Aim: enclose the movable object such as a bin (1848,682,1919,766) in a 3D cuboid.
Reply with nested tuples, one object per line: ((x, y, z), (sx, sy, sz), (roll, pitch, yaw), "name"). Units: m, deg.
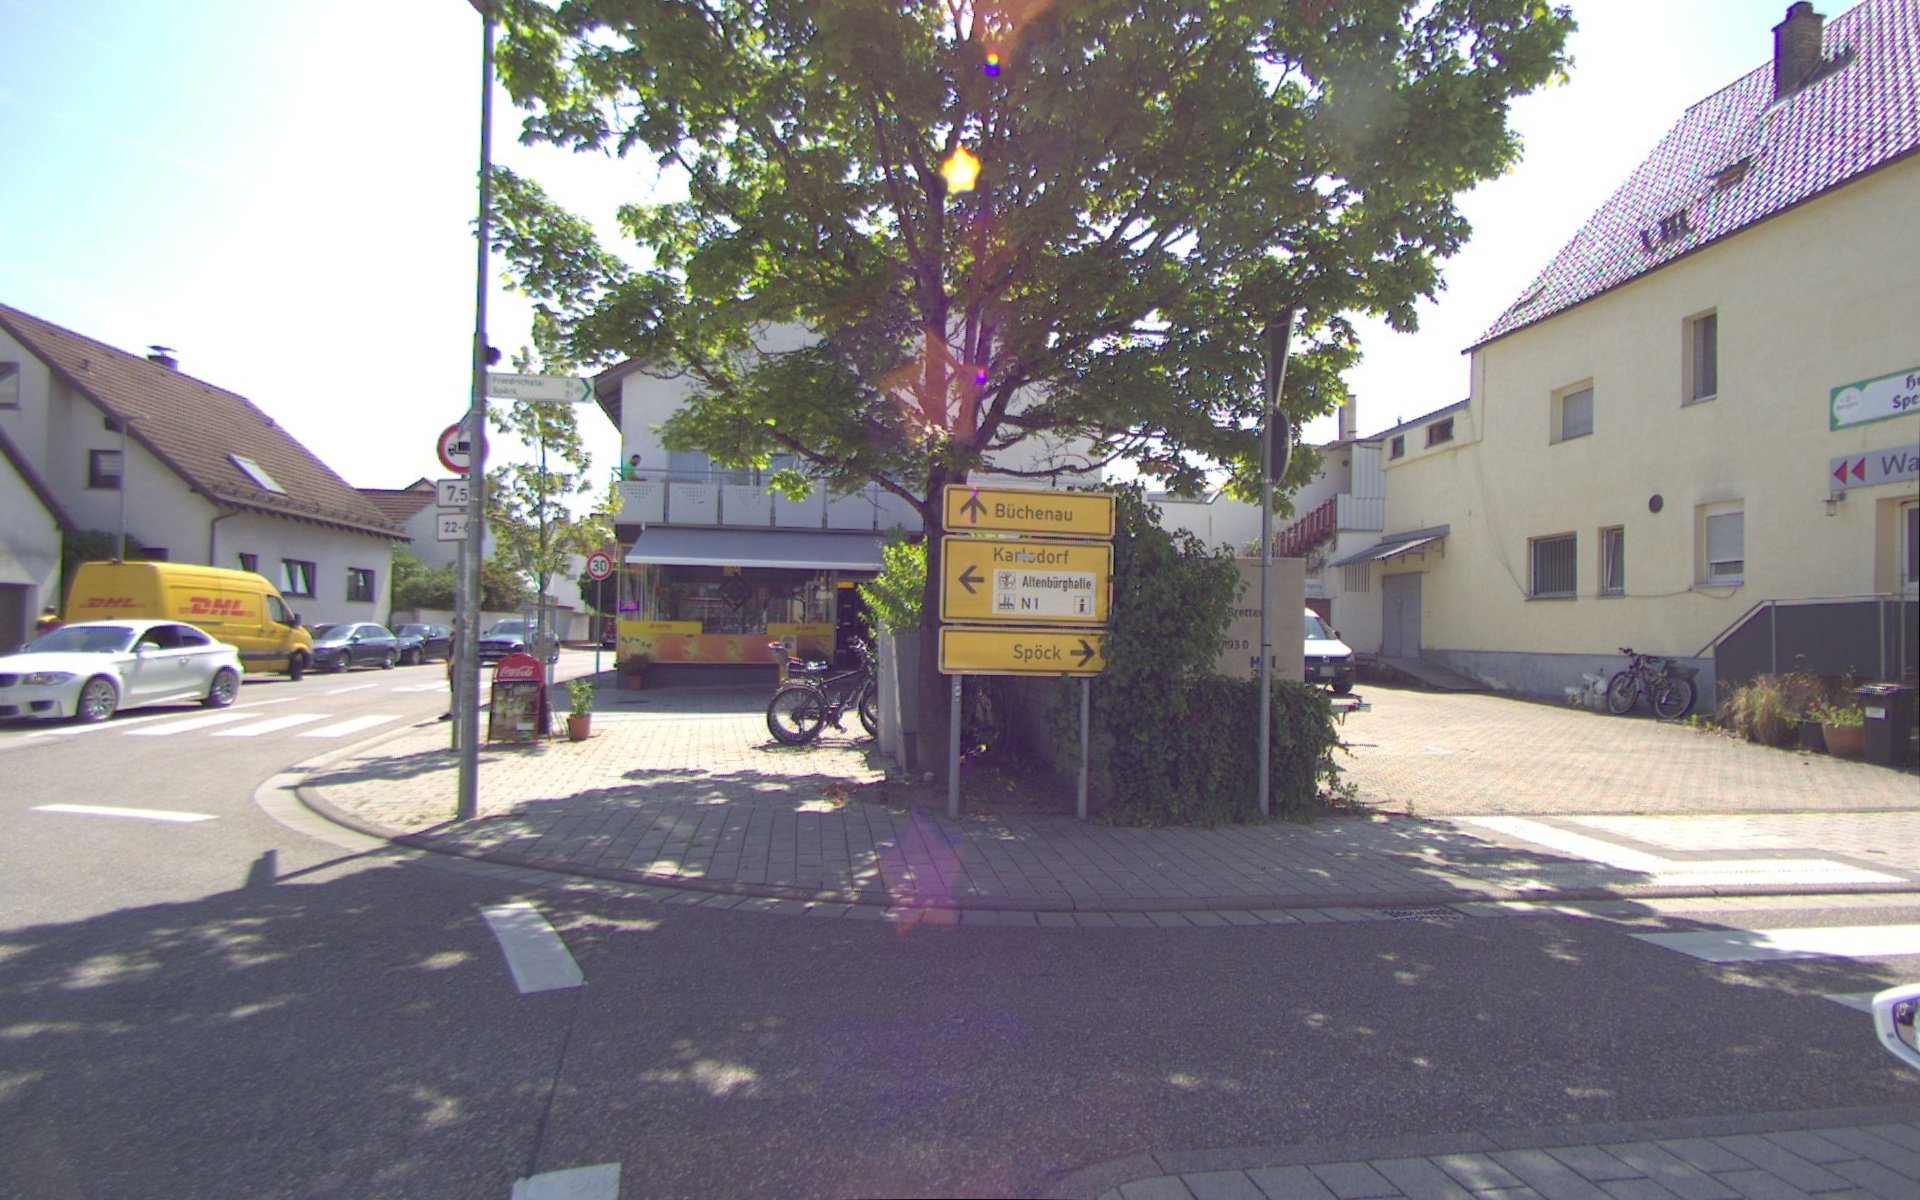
((10.926, 1.451, 11.819), (0.537, 0.940, 0.480), (1, -2, -6), "movable object such as a bin")

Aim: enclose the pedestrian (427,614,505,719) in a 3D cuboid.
((-7.896, 1.038, 16.062), (0.738, 1.610, 0.877), (-1, -1, 35), "pedestrian")

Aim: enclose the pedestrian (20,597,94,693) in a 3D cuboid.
((-17.909, 0.888, 19.930), (1.004, 1.850, 0.782), (-1, -1, 27), "pedestrian")

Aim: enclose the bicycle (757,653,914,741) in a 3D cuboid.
((-1.575, 1.212, 12.807), (1.952, 1.017, 0.399), (0, -1, -20), "bicycle")

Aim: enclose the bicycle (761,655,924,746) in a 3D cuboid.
((-1.434, 1.217, 12.375), (1.952, 1.017, 0.399), (0, -1, -20), "bicycle")

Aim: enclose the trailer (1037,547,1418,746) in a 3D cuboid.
((3.403, 0.601, 13.240), (4.440, 2.366, 1.883), (1, 0, -8), "trailer")

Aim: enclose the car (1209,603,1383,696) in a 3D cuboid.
((7.262, 0.993, 22.277), (1.870, 1.782, 4.577), (2, 0, -7), "car")

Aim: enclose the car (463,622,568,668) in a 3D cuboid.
((-15.596, 1.526, 35.533), (1.843, 1.369, 4.416), (2, 0, -2), "car")

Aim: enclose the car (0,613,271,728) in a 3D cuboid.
((-12.706, 0.971, 15.120), (1.845, 1.468, 4.333), (1, -2, -3), "car")

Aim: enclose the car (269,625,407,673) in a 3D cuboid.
((-18.575, 1.433, 30.238), (1.751, 1.261, 3.972), (1, 0, -2), "car")

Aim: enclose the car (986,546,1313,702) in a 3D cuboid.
((3.388, 0.447, 18.442), (5.543, 2.601, 1.940), (1, 0, -8), "car")

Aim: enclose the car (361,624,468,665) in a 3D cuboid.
((-19.371, 1.545, 35.861), (1.751, 1.261, 3.972), (1, 0, -2), "car")

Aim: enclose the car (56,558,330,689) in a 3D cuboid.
((-17.168, 0.572, 23.003), (2.072, 2.606, 5.683), (0, -2, -3), "car")

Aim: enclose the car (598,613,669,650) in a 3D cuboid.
((-17.615, 1.658, 54.439), (1.836, 1.857, 3.975), (1, 0, 13), "car")

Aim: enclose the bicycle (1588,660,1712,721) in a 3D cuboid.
((11.688, 1.502, 17.103), (0.532, 0.925, 2.176), (1, -2, -3), "bicycle")

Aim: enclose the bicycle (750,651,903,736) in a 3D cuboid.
((-1.743, 1.206, 13.225), (1.952, 1.017, 0.399), (0, -1, -20), "bicycle")
